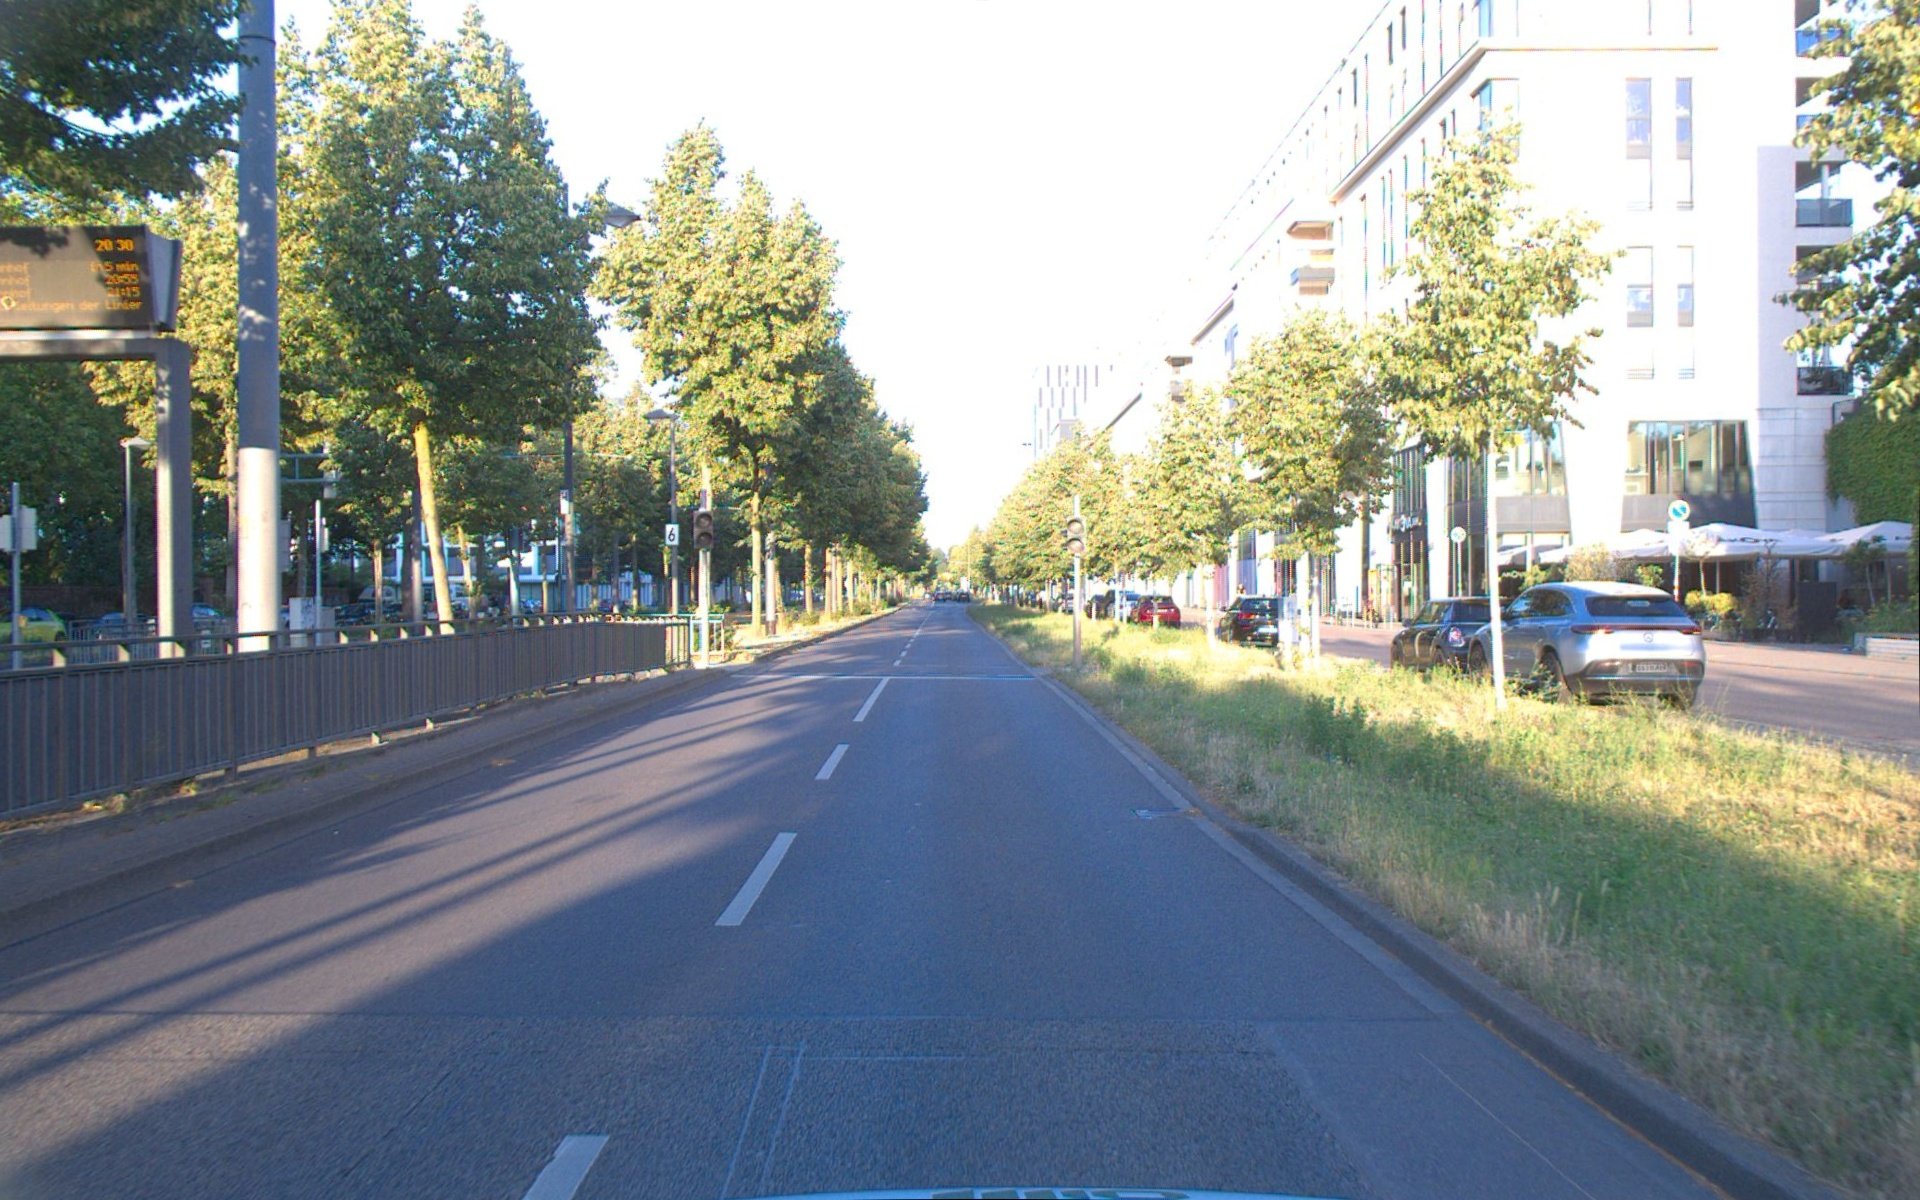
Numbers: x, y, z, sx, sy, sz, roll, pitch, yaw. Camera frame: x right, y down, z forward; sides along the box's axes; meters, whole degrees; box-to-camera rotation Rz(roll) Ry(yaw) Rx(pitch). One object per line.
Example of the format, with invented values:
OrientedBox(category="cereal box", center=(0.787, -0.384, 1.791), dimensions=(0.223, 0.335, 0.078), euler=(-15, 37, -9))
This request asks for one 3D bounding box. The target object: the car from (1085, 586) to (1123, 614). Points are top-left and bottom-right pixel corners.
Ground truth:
OrientedBox(category="car", center=(7.965, -0.006, 91.767), dimensions=(1.689, 1.527, 4.232), euler=(1, 0, 0))

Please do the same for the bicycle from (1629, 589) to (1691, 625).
OrientedBox(category="bicycle", center=(22.287, 0.210, 52.672), dimensions=(1.759, 1.127, 0.500), euler=(-1, 0, -5))

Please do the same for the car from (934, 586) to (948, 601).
OrientedBox(category="car", center=(-2.803, -0.951, 241.129), dimensions=(2.045, 2.049, 3.999), euler=(0, 0, -1))

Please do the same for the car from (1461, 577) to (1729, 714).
OrientedBox(category="car", center=(8.488, 0.532, 22.597), dimensions=(1.772, 1.660, 4.675), euler=(0, 0, -1))

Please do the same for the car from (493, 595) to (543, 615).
OrientedBox(category="car", center=(-38.452, 0.459, 144.035), dimensions=(3.908, 1.668, 1.921), euler=(-1, 0, -4))

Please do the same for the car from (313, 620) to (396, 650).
OrientedBox(category="car", center=(-29.684, 1.708, 81.295), dimensions=(1.952, 1.338, 5.144), euler=(-1, 0, 3))

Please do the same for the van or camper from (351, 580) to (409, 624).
OrientedBox(category="van or camper", center=(-37.994, 0.136, 108.467), dimensions=(2.043, 2.783, 5.493), euler=(-1, 0, -2))

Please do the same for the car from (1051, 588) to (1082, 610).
OrientedBox(category="car", center=(7.608, -0.118, 118.114), dimensions=(1.772, 1.527, 4.824), euler=(0, 0, -1))

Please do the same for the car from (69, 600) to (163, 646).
OrientedBox(category="car", center=(-38.713, 1.028, 75.943), dimensions=(1.951, 2.049, 4.003), euler=(-1, 0, 6))

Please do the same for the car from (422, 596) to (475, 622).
OrientedBox(category="car", center=(-31.850, 0.547, 103.090), dimensions=(1.952, 1.512, 4.001), euler=(-1, 0, 2))

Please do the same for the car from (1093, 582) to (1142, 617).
OrientedBox(category="car", center=(7.992, -0.033, 84.384), dimensions=(1.913, 1.652, 4.820), euler=(2, 0, -1))

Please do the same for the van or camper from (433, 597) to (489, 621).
OrientedBox(category="van or camper", center=(-38.578, 0.673, 128.020), dimensions=(3.915, 1.822, 1.995), euler=(-1, 0, -11))

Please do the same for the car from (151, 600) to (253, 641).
OrientedBox(category="car", center=(-30.161, 0.799, 65.948), dimensions=(1.953, 1.525, 4.557), euler=(-1, 0, 0))

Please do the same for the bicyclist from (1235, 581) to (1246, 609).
OrientedBox(category="bicyclist", center=(16.503, -0.300, 97.382), dimensions=(0.533, 1.596, 1.020), euler=(0, 0, 2))

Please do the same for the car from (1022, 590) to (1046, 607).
OrientedBox(category="car", center=(7.192, -0.158, 161.963), dimensions=(1.904, 1.576, 4.809), euler=(-1, 0, -3))

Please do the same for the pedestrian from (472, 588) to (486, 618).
OrientedBox(category="pedestrian", center=(-28.253, 0.169, 97.184), dimensions=(0.680, 1.789, 0.864), euler=(-1, 0, -8))

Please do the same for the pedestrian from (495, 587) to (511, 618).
OrientedBox(category="pedestrian", center=(-26.834, 0.156, 97.135), dimensions=(0.679, 1.773, 0.866), euler=(-1, 0, -3))

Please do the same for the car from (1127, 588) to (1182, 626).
OrientedBox(category="car", center=(8.118, 0.265, 69.292), dimensions=(1.772, 1.527, 3.958), euler=(0, 0, -1))

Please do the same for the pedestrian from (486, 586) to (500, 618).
OrientedBox(category="pedestrian", center=(-27.603, 0.115, 97.776), dimensions=(0.680, 1.903, 0.864), euler=(-1, 0, -8))

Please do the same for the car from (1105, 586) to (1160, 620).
OrientedBox(category="car", center=(7.983, 0.105, 76.944), dimensions=(1.882, 1.527, 5.008), euler=(0, 0, -1))

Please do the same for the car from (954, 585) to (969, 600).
OrientedBox(category="car", center=(0.202, -1.117, 236.626), dimensions=(1.953, 2.049, 3.999), euler=(0, 0, -1))

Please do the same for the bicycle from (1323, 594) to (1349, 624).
OrientedBox(category="bicycle", center=(15.109, 0.354, 66.526), dimensions=(0.535, 1.148, 1.867), euler=(-2, 0, -2))

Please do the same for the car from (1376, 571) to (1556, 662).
OrientedBox(category="car", center=(8.445, 0.239, 27.954), dimensions=(1.714, 1.422, 3.999), euler=(0, 0, -2))

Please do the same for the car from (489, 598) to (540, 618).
OrientedBox(category="car", center=(-38.082, 0.701, 141.407), dimensions=(3.908, 1.668, 1.921), euler=(-1, 0, -4))

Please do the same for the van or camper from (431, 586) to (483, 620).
OrientedBox(category="van or camper", center=(-46.829, 0.269, 154.087), dimensions=(2.653, 3.139, 6.265), euler=(0, 0, 3))

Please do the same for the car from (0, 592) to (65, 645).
OrientedBox(category="car", center=(-31.435, 0.594, 54.279), dimensions=(1.953, 1.668, 4.000), euler=(-1, 0, 0))

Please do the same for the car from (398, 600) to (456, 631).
OrientedBox(category="car", center=(-31.433, 0.880, 97.676), dimensions=(1.953, 1.780, 4.789), euler=(-1, 0, -1))

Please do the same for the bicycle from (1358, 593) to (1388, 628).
OrientedBox(category="bicycle", center=(15.195, 0.379, 60.820), dimensions=(0.604, 1.253, 1.670), euler=(-1, 0, -3))

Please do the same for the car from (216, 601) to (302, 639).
OrientedBox(category="car", center=(-30.425, 0.845, 71.905), dimensions=(1.861, 1.525, 4.306), euler=(-1, 0, 0))

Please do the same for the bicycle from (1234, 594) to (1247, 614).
OrientedBox(category="bicycle", center=(16.506, 0.229, 97.370), dimensions=(0.532, 1.137, 1.913), euler=(0, 0, 3))

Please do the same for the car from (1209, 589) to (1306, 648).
OrientedBox(category="car", center=(8.120, 0.466, 45.497), dimensions=(1.772, 1.527, 4.367), euler=(0, 0, -1))

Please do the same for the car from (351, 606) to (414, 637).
OrientedBox(category="car", center=(-31.293, 1.147, 89.746), dimensions=(1.765, 1.588, 3.840), euler=(-1, 0, 5))
